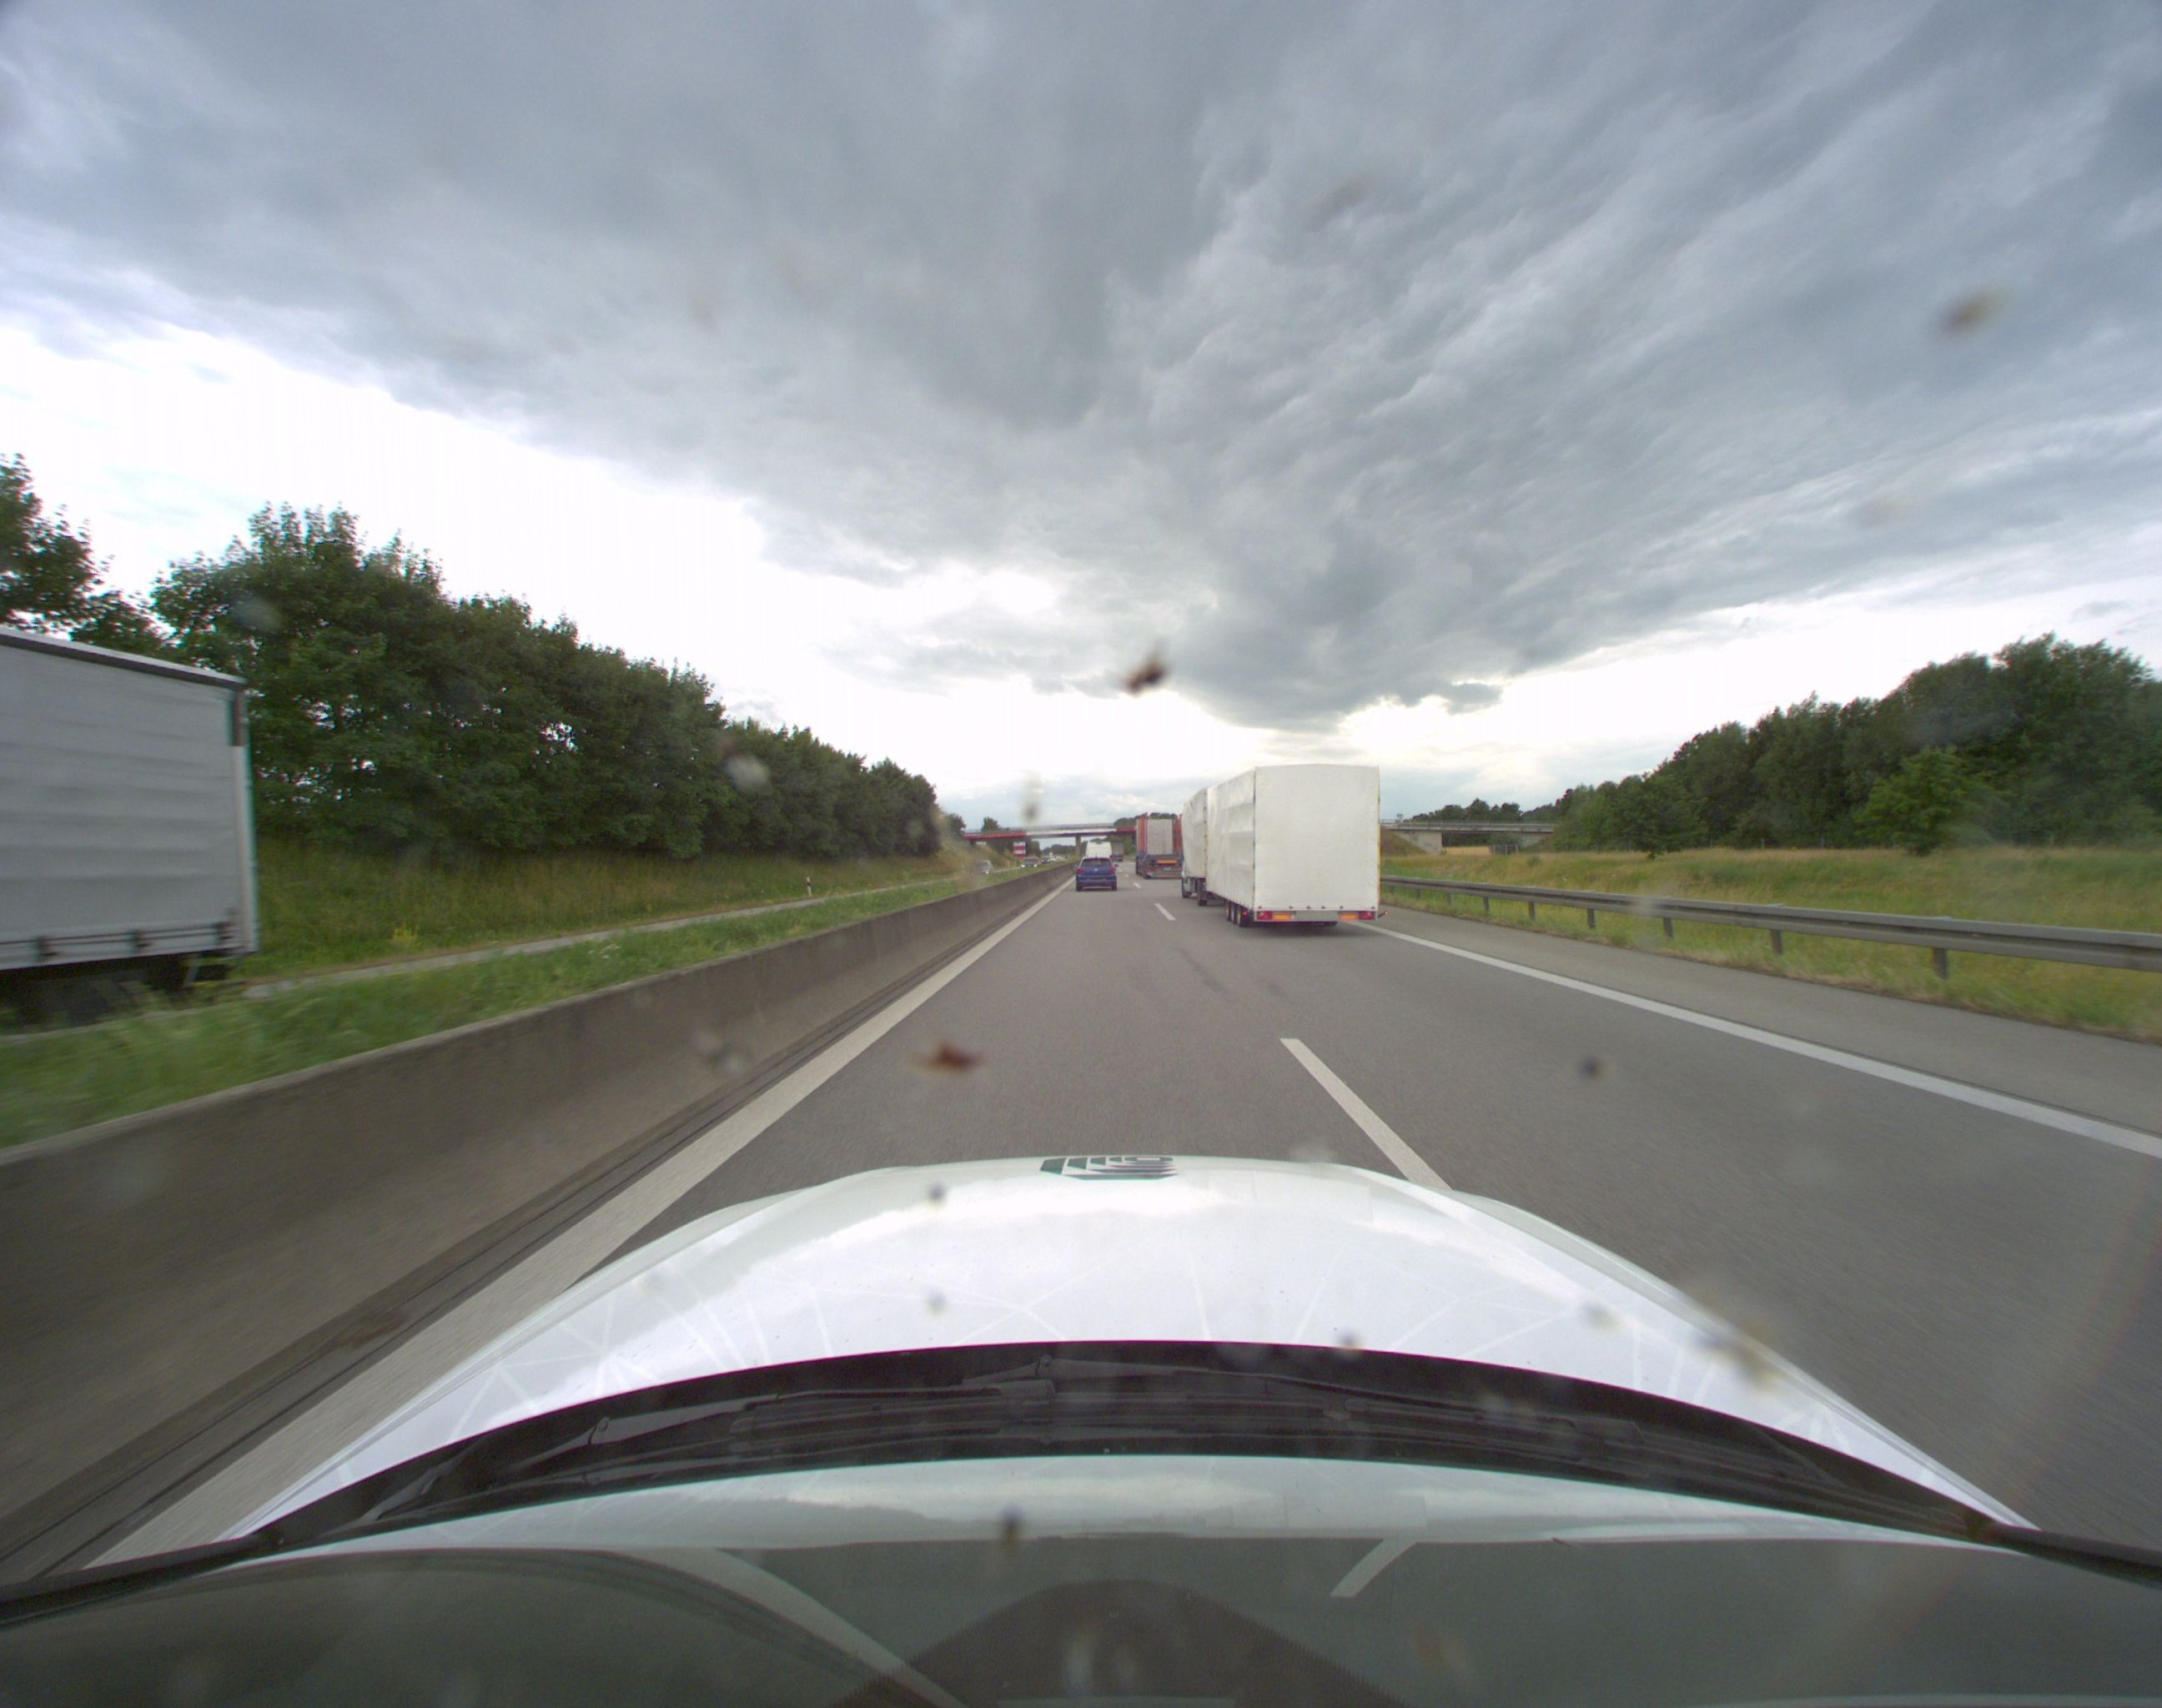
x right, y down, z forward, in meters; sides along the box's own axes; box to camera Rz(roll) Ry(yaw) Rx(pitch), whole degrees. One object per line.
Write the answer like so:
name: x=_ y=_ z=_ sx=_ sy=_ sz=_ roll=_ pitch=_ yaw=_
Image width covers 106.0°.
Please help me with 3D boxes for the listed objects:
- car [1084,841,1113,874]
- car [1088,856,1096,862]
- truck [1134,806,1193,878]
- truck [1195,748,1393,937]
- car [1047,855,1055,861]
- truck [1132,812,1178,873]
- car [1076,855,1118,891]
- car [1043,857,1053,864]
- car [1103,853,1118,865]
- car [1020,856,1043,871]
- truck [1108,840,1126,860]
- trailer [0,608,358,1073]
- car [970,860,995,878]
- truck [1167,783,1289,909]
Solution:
car: x=1.427 y=0.244 z=65.685 sx=2.122 sy=2.482 sz=5.841 roll=-2 pitch=0 yaw=1
car: x=2.945 y=1.398 z=219.607 sx=1.986 sy=1.684 sz=4.001 roll=-1 pitch=0 yaw=1
truck: x=5.110 y=-0.751 z=52.334 sx=2.664 sy=4.045 sz=11.108 roll=-2 pitch=0 yaw=1
truck: x=4.180 y=-0.204 z=17.644 sx=2.407 sy=3.222 sz=7.143 roll=-1 pitch=0 yaw=0
car: x=-8.268 y=1.000 z=223.507 sx=1.888 sy=1.461 sz=4.543 roll=-4 pitch=0 yaw=1
truck: x=5.155 y=-0.799 z=57.727 sx=2.664 sy=4.045 sz=5.512 roll=-2 pitch=0 yaw=0
car: x=0.668 y=0.777 z=34.863 sx=1.658 sy=1.407 sz=3.649 roll=-1 pitch=0 yaw=1
car: x=-6.824 y=1.320 z=169.934 sx=1.640 sy=1.378 sz=4.236 roll=-4 pitch=0 yaw=1
car: x=3.487 y=0.571 z=97.421 sx=1.658 sy=1.407 sz=3.649 roll=-1 pitch=0 yaw=1
car: x=-5.154 y=0.999 z=85.143 sx=1.841 sy=1.378 sz=4.601 roll=-4 pitch=0 yaw=1
truck: x=7.282 y=-0.757 z=166.332 sx=3.101 sy=3.689 sz=9.321 roll=-4 pitch=0 yaw=0
trailer: x=-10.941 y=-0.027 z=3.122 sx=2.696 sy=4.088 sz=14.603 roll=-4 pitch=0 yaw=2
car: x=-8.865 y=1.332 z=73.585 sx=1.640 sy=1.409 sz=3.888 roll=-4 pitch=0 yaw=1
truck: x=4.224 y=-0.210 z=24.870 sx=2.422 sy=3.243 sz=7.247 roll=-1 pitch=0 yaw=0
